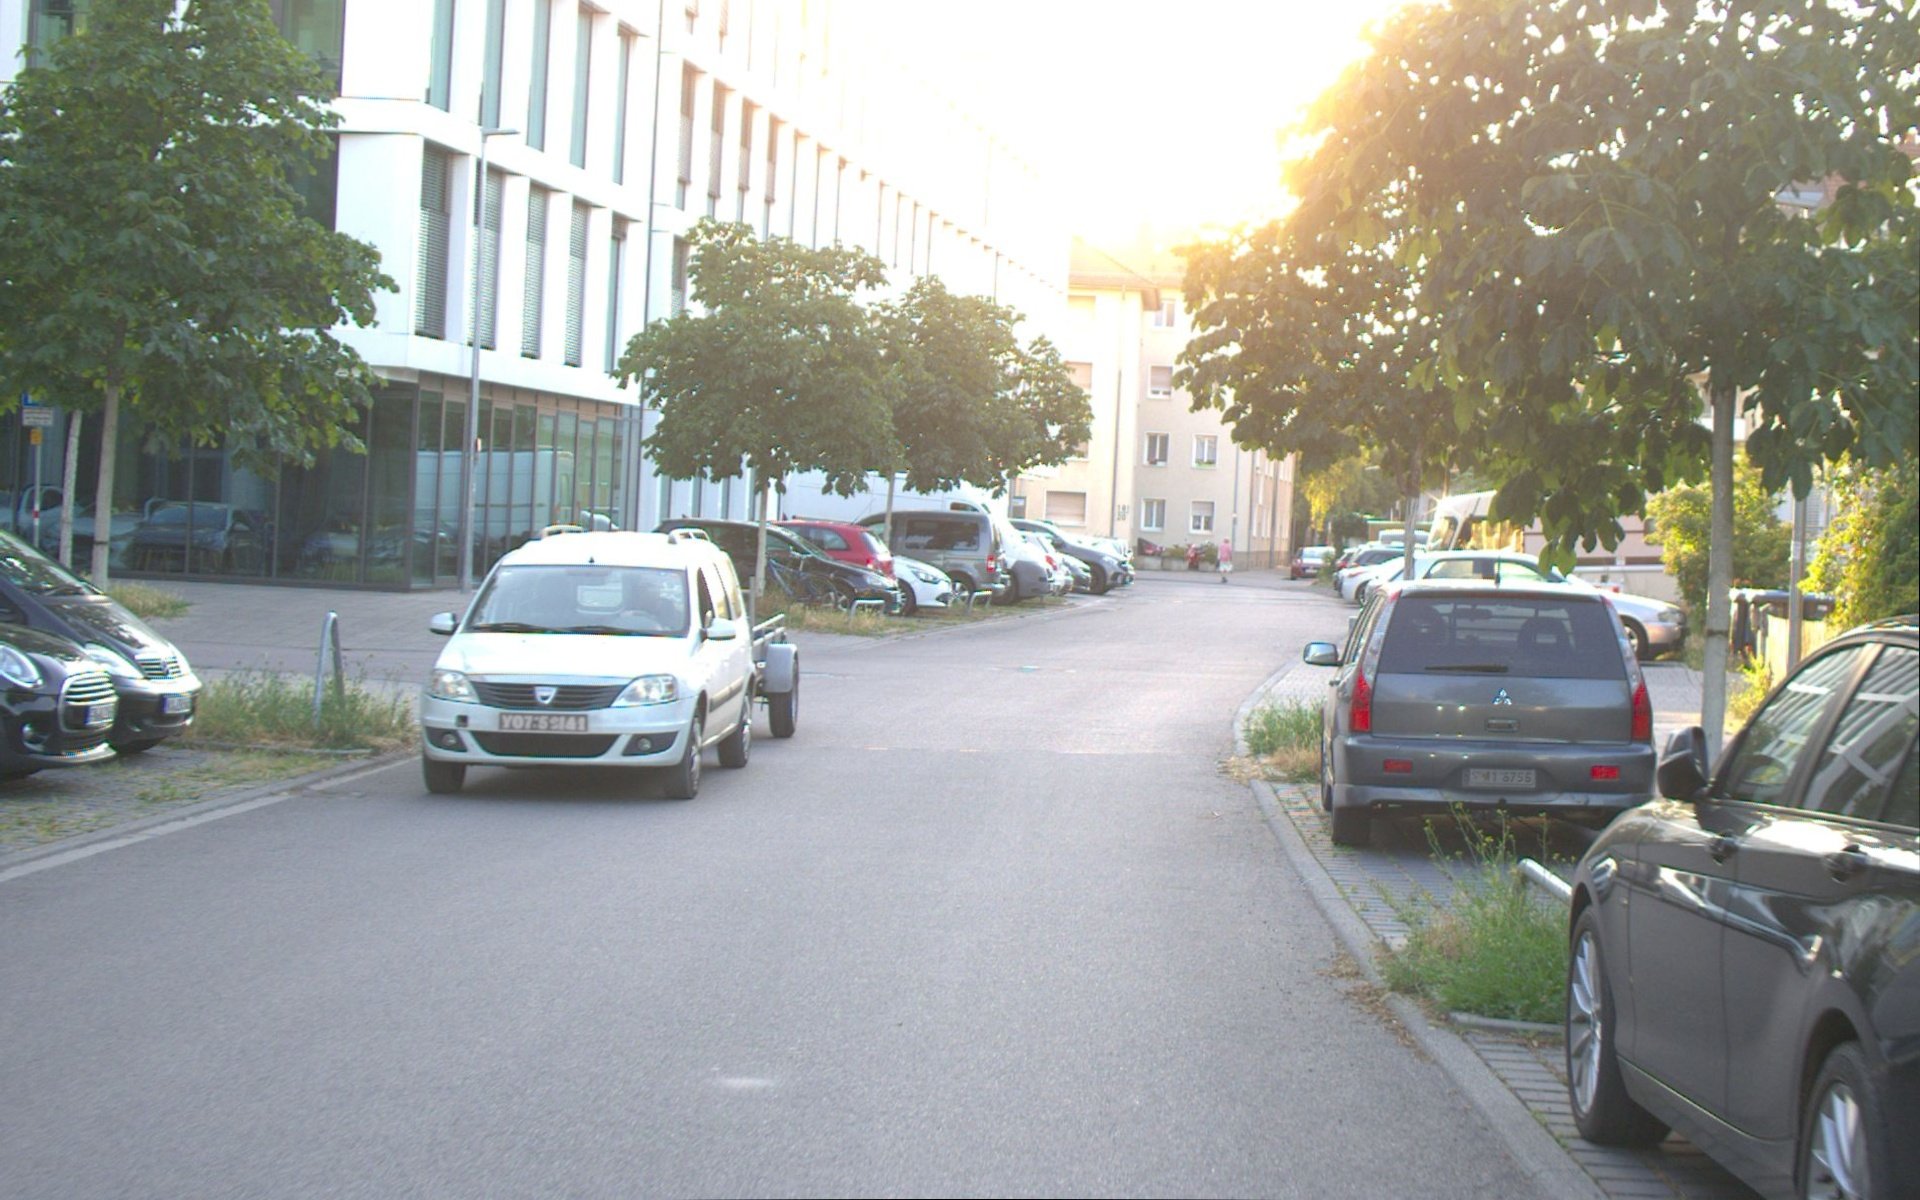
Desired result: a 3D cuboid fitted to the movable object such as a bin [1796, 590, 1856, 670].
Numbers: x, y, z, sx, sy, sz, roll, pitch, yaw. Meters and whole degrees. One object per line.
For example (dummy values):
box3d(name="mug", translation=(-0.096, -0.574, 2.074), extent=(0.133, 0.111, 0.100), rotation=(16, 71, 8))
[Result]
box3d(name="movable object such as a bin", translation=(10.933, 0.377, 43.410), extent=(0.578, 0.955, 0.689), rotation=(2, 2, 3))

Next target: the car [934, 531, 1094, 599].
box3d(name="car", translation=(1.264, -0.832, 80.452), extent=(3.561, 1.474, 1.457), rotation=(1, 2, 9))

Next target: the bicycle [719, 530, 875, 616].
box3d(name="bicycle", translation=(-2.426, -0.406, 51.287), extent=(2.179, 1.170, 0.811), rotation=(3, 1, 8))

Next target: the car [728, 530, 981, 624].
box3d(name="car", translation=(-1.780, -0.408, 58.767), extent=(4.051, 1.474, 1.767), rotation=(1, 2, 9))

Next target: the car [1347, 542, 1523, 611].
box3d(name="car", translation=(11.203, -0.565, 81.152), extent=(4.051, 1.474, 1.767), rotation=(1, 2, 8))

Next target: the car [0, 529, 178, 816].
box3d(name="car", translation=(-6.654, 0.262, 19.613), extent=(3.886, 1.483, 1.651), rotation=(5, 1, 2))

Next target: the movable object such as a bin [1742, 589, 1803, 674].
box3d(name="movable object such as a bin", translation=(10.186, 0.395, 43.118), extent=(0.578, 1.007, 0.689), rotation=(2, 2, 3))

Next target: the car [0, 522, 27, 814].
box3d(name="car", translation=(-6.920, 0.198, 17.153), extent=(3.987, 1.517, 1.606), rotation=(5, 1, 0))

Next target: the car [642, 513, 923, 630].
box3d(name="car", translation=(-2.723, -0.463, 53.264), extent=(4.051, 1.474, 1.767), rotation=(4, 3, 5))

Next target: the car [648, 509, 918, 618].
box3d(name="car", translation=(-2.877, -0.606, 56.324), extent=(4.051, 1.474, 1.767), rotation=(4, 1, 8))

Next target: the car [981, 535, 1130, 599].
box3d(name="car", translation=(2.411, -0.842, 86.521), extent=(3.561, 1.474, 1.457), rotation=(1, 2, 9))

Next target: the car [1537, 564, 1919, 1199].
box3d(name="car", translation=(2.437, 0.719, 7.453), extent=(1.693, 1.504, 4.193), rotation=(2, 1, 1))

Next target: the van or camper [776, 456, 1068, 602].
box3d(name="van or camper", translation=(-0.746, -1.437, 68.628), extent=(5.454, 2.475, 1.775), rotation=(4, 2, 8))

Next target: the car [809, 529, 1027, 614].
box3d(name="car", translation=(-0.785, -0.563, 66.346), extent=(4.050, 1.519, 1.736), rotation=(1, 2, 5))

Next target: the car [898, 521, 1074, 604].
box3d(name="car", translation=(0.561, -0.812, 73.371), extent=(3.561, 1.646, 1.457), rotation=(1, 2, 9))

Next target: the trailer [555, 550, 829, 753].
box3d(name="trailer", translation=(-2.068, 0.358, 27.357), extent=(1.706, 1.344, 3.487), rotation=(3, 2, 2))

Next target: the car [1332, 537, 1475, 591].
box3d(name="car", translation=(13.042, -1.072, 101.288), extent=(4.050, 1.474, 1.768), rotation=(1, 2, 3))

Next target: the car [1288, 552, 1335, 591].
box3d(name="car", translation=(15.570, -1.272, 152.256), extent=(1.950, 1.579, 3.640), rotation=(3, 1, 6))

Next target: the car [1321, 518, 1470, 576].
box3d(name="car", translation=(13.262, -1.623, 104.836), extent=(4.342, 1.638, 1.816), rotation=(1, 2, 3))

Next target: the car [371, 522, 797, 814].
box3d(name="car", translation=(-2.346, 0.364, 22.736), extent=(1.952, 1.680, 4.721), rotation=(1, 1, 4))

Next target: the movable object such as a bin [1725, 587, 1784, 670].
box3d(name="movable object such as a bin", translation=(10.151, 0.366, 43.914), extent=(0.578, 1.007, 0.689), rotation=(2, 2, 3))

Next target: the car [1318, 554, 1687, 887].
box3d(name="car", translation=(2.949, 0.571, 19.496), extent=(1.724, 1.574, 4.597), rotation=(2, 1, 5))

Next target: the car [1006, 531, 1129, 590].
box3d(name="car", translation=(2.796, -1.033, 88.941), extent=(3.016, 1.416, 1.457), rotation=(1, 2, 9))

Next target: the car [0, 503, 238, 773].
box3d(name="car", translation=(-6.785, 0.126, 22.408), extent=(3.636, 1.571, 1.660), rotation=(5, 1, 6))

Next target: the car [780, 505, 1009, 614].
box3d(name="car", translation=(-1.188, -0.765, 63.647), extent=(4.050, 1.901, 1.736), rotation=(1, 2, 5))

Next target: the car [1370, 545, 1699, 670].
box3d(name="car", translation=(7.470, 0.076, 44.991), extent=(4.050, 1.474, 1.768), rotation=(1, 2, 3))

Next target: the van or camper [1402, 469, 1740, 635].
box3d(name="van or camper", translation=(10.767, -0.887, 60.965), extent=(5.610, 2.780, 2.429), rotation=(1, 2, 4))
